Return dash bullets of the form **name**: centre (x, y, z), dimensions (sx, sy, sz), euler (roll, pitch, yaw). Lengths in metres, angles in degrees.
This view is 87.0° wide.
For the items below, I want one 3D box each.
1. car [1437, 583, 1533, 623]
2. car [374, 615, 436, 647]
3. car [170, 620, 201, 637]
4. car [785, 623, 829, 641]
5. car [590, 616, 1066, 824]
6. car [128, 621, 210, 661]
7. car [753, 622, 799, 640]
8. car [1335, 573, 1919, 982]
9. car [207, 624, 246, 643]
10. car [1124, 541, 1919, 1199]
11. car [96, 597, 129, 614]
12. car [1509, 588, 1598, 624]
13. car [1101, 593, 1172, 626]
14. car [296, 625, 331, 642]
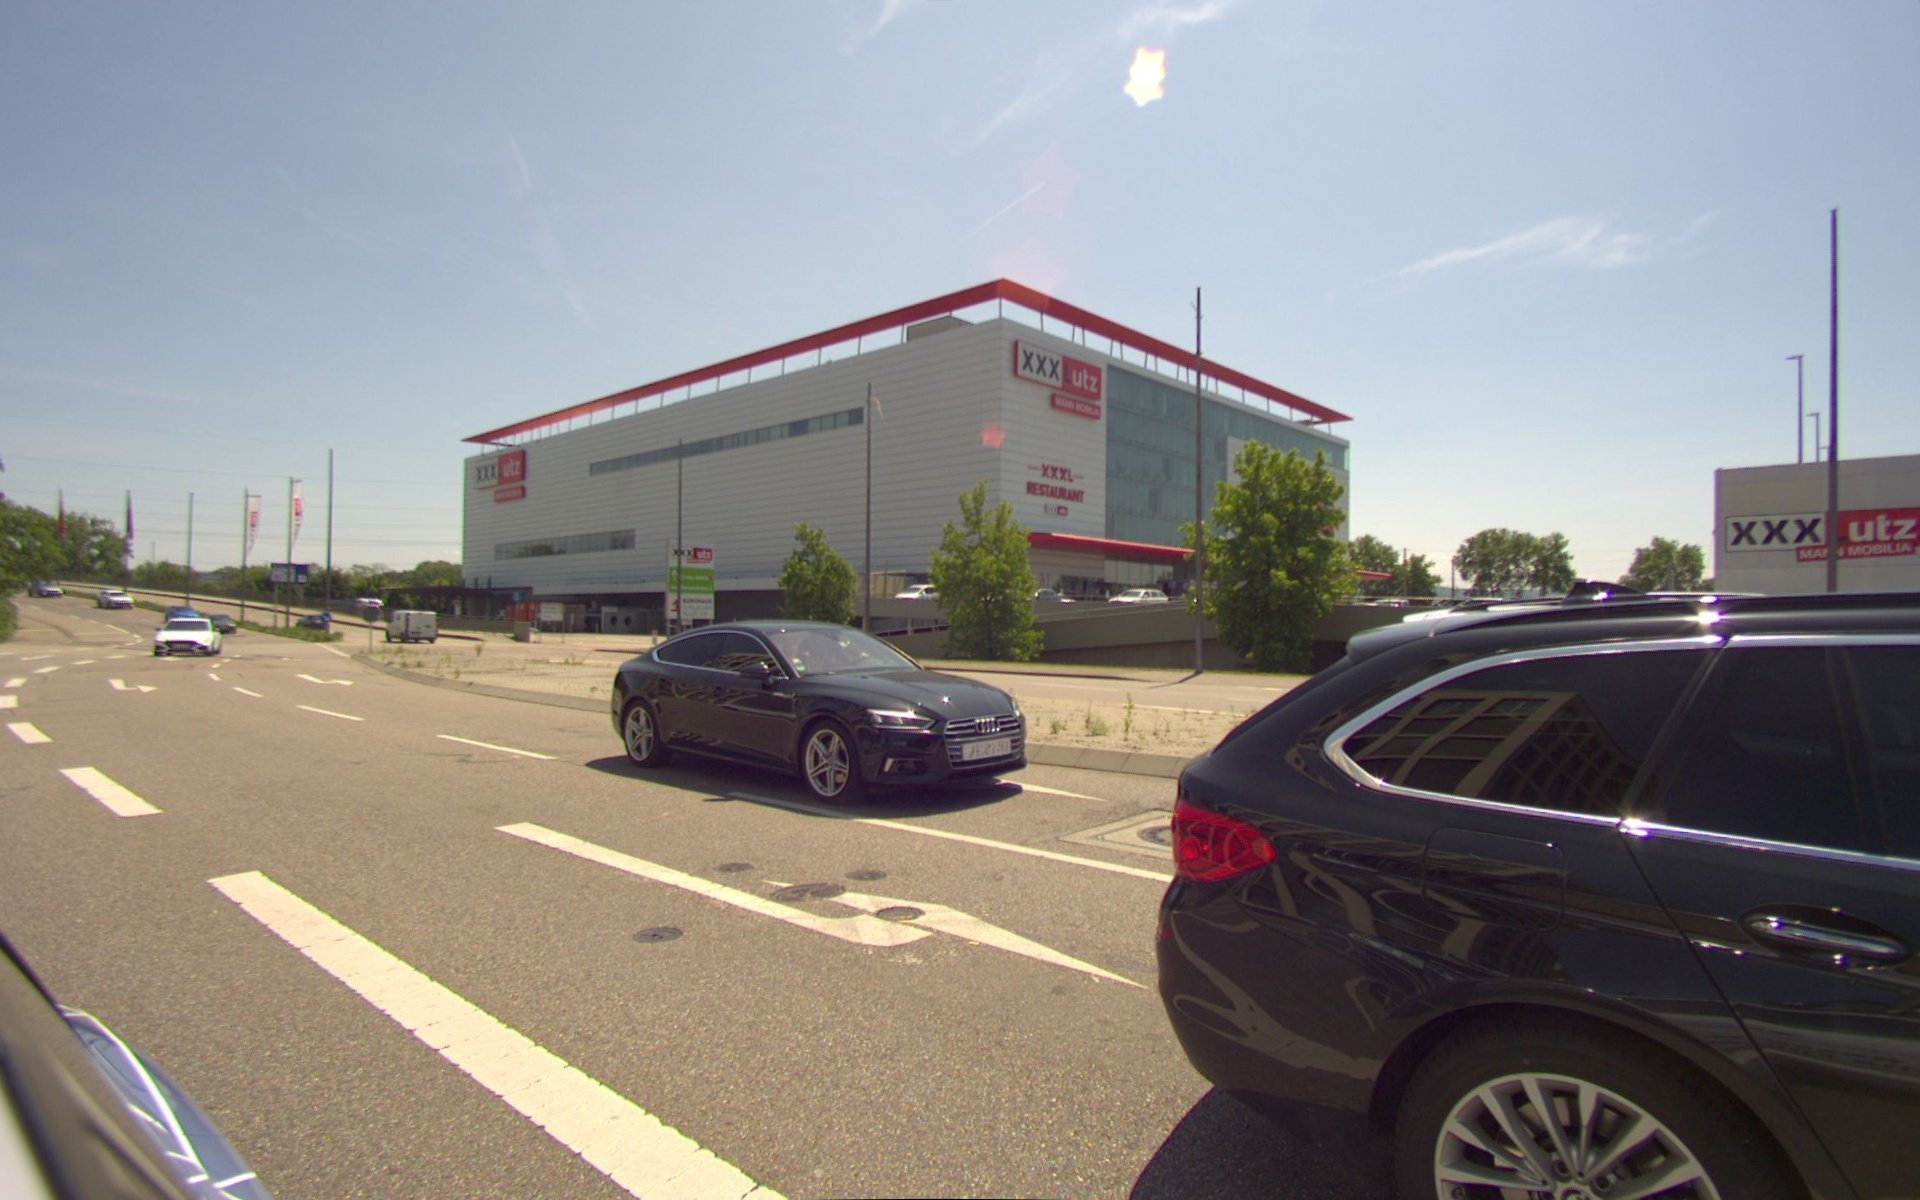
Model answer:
- **car**: centre (26.848, 0.183, 51.825), dimensions (3.998, 1.946, 1.973), euler (-1, -2, 41)
- **car**: centre (-34.107, 1.895, 62.162), dimensions (4.839, 1.864, 1.811), euler (-1, -2, 42)
- **car**: centre (-65.485, 2.389, 85.550), dimensions (1.775, 1.424, 4.412), euler (1, -2, -41)
- **car**: centre (-13.740, 2.885, 90.807), dimensions (1.959, 1.507, 3.436), euler (0, -2, 42)
- **car**: centre (-1.397, 0.874, 9.037), dimensions (4.533, 1.401, 1.729), euler (-2, -2, 43)
- **car**: centre (-30.623, 1.554, 39.150), dimensions (4.228, 1.461, 1.712), euler (-1, -2, 41)
- **car**: centre (-16.879, 2.829, 92.973), dimensions (1.911, 1.632, 3.698), euler (0, -2, 41)
- **car**: centre (3.965, 0.660, 4.509), dimensions (3.991, 1.505, 1.782), euler (-1, -1, 36)
- **car**: centre (-53.968, 2.435, 74.433), dimensions (1.776, 1.388, 4.410), euler (2, -2, -43)
- **car**: centre (2.718, 0.636, 1.563), dimensions (4.620, 1.477, 1.781), euler (-1, -1, 40)
- **car**: centre (-81.310, 0.535, 97.121), dimensions (4.052, 1.587, 1.659), euler (-1, -1, 39)
- **car**: centre (32.704, 0.348, 55.803), dimensions (3.996, 1.923, 1.974), euler (-1, -2, 39)
- **car**: centre (10.060, 0.568, 57.443), dimensions (2.000, 1.781, 4.140), euler (0, -2, 44)
- **car**: centre (-51.123, 2.635, 80.042), dimensions (1.832, 1.312, 3.900), euler (3, -3, -39)
